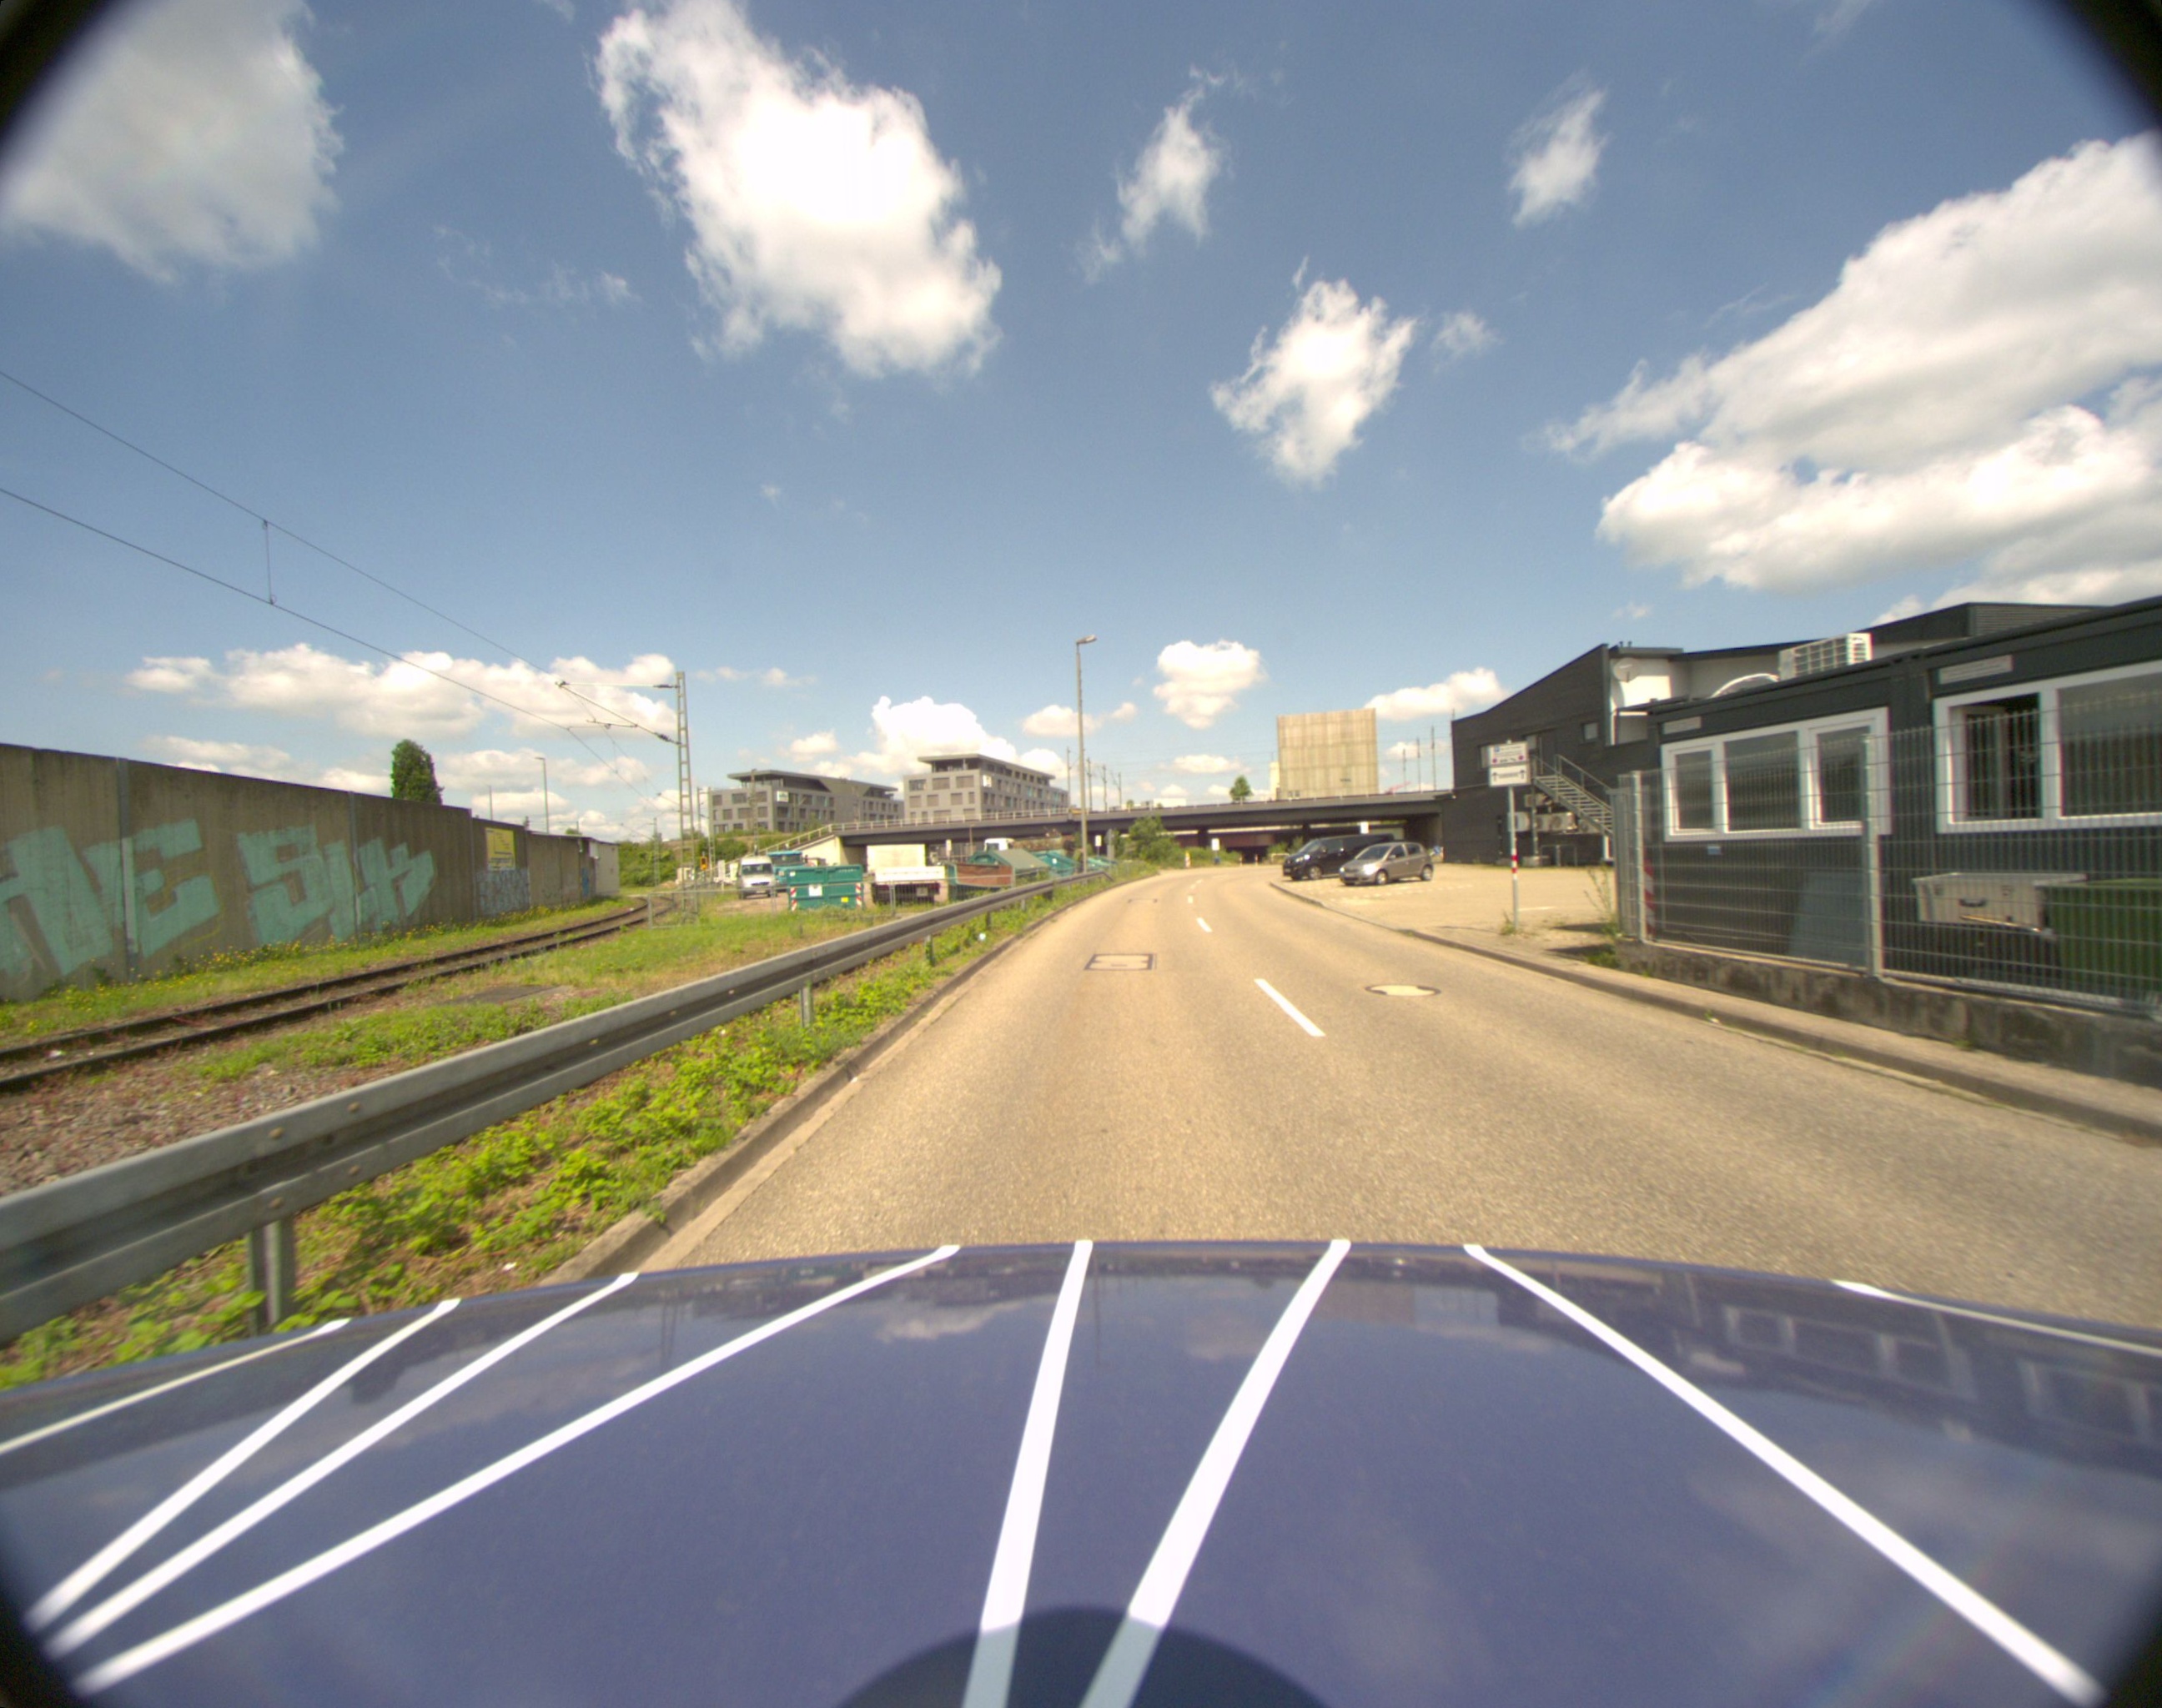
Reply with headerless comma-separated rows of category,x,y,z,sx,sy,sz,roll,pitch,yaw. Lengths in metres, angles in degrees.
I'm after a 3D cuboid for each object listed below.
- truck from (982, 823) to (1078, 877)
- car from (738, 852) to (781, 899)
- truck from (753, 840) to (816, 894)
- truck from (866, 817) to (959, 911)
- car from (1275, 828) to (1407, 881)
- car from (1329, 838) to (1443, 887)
truck,-3.164,-0.241,47.559,5.504,3.080,2.002,-2,1,15
car,-19.672,1.260,46.364,2.069,2.512,5.870,-5,2,-25
truck,-22.466,0.940,57.398,2.659,3.626,6.871,-6,3,-34
truck,-7.452,0.351,32.604,2.997,3.400,8.101,-3,1,-18
car,11.884,-0.004,34.840,5.344,1.905,1.998,-5,2,-12
car,11.198,0.303,27.882,3.699,1.468,1.794,-5,1,-27
